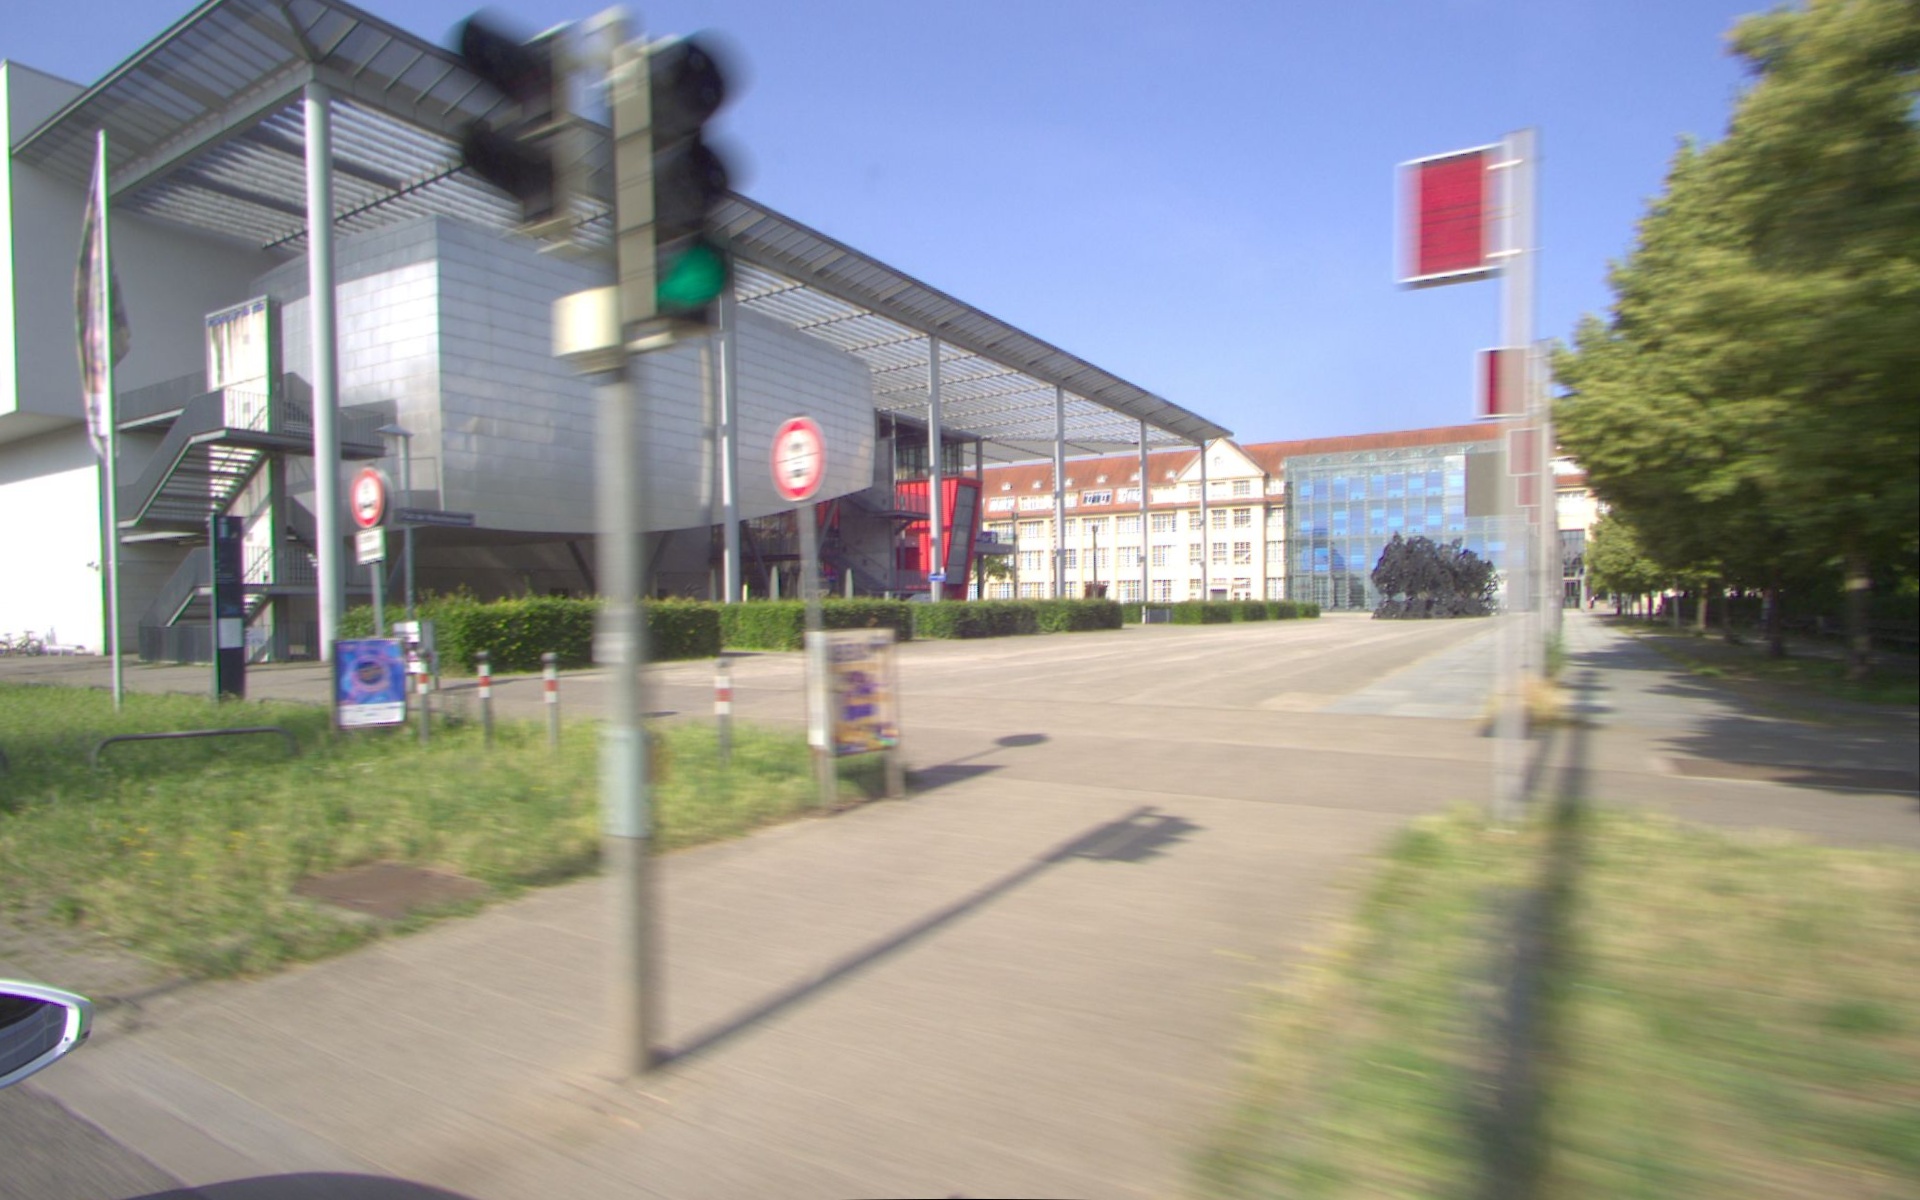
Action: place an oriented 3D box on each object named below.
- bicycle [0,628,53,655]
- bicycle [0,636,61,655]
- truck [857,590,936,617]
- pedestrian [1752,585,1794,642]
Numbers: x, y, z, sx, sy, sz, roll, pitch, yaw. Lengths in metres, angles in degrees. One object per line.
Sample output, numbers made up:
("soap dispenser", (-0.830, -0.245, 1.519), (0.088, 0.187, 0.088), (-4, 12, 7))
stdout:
("bicycle", (-35.171, 1.546, 37.554), (0.475, 0.927, 1.654), (0, 0, 32))
("bicycle", (-34.536, 1.682, 37.176), (0.530, 0.653, 1.654), (-1, 0, 32))
("truck", (-4.657, 0.264, 72.962), (5.609, 1.877, 1.991), (-1, 0, 29))
("pedestrian", (26.939, 0.454, 33.188), (0.724, 1.846, 0.806), (-1, 0, 1))
